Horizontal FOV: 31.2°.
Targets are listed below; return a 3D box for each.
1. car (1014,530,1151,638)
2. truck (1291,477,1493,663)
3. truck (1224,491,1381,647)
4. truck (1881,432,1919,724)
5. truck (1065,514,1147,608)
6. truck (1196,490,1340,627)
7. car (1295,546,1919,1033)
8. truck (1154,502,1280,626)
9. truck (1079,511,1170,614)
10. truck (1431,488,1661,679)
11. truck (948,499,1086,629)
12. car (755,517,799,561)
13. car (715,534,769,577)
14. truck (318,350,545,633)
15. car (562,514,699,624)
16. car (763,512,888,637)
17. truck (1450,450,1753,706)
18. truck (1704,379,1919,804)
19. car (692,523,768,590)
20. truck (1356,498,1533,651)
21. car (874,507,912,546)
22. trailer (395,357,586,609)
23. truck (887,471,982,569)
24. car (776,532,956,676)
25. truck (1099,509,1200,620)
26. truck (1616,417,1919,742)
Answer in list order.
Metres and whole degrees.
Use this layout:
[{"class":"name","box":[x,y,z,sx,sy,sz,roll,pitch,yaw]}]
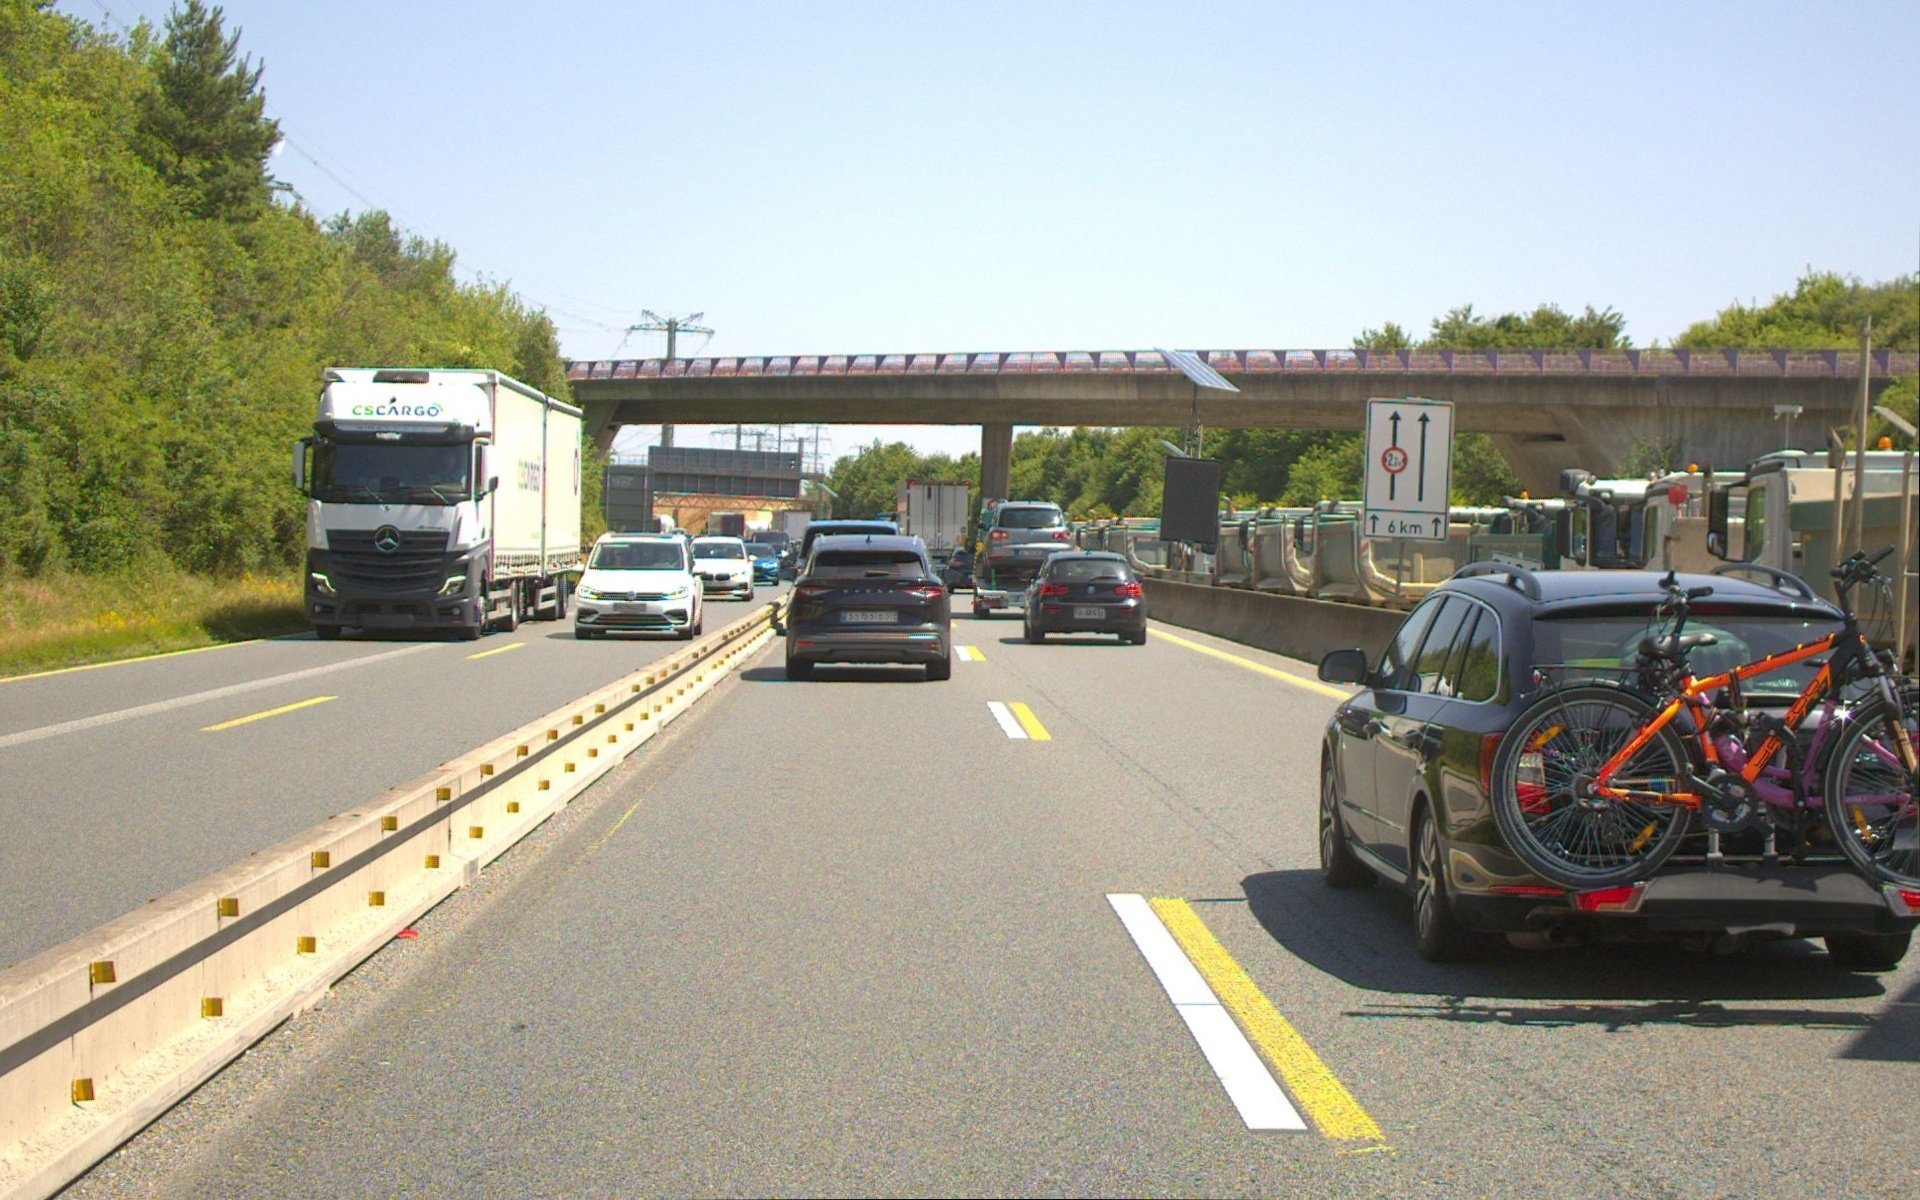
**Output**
[{"class":"car","box":[1.873,-0.269,53.728,1.899,1.580,4.276,1,1,-1]},{"class":"truck","box":[8.833,-0.670,71.404,2.687,3.545,9.603,1,1,-1]},{"class":"truck","box":[8.242,-0.808,83.843,2.687,3.545,9.407,1,1,-1]},{"class":"truck","box":[12.947,-0.190,38.571,2.687,3.499,8.381,1,1,-2]},{"class":"truck","box":[6.205,-1.712,147.086,2.687,3.830,9.326,1,1,-2]},{"class":"truck","box":[8.429,-1.181,95.231,2.687,3.545,9.326,1,1,-2]},{"class":"car","box":[2.523,0.567,13.164,1.899,1.485,4.948,1,1,-1]},{"class":"truck","box":[7.706,-1.133,104.252,2.687,3.545,9.326,1,1,-2]},{"class":"truck","box":[6.373,-1.491,134.142,2.687,3.842,9.326,1,1,-2]},{"class":"truck","box":[11.676,-0.403,69.458,2.687,3.545,9.604,1,1,-2]},{"class":"truck","box":[1.120,-0.810,72.201,2.405,2.549,7.501,1,1,-3]},{"class":"car","box":[-8.657,-2.904,162.977,1.890,2.007,4.818,1,1,-1]},{"class":"car","box":[-7.480,-1.544,118.383,1.712,1.420,4.171,1,1,-2]},{"class":"truck","box":[-8.214,-1.655,54.526,2.409,3.978,10.354,2,1,-3]},{"class":"car","box":[-5.094,-0.488,53.617,1.824,1.625,4.151,1,1,-2]},{"class":"car","box":[-2.190,-0.436,56.920,1.899,1.962,4.276,1,1,-1]},{"class":"truck","box":[9.682,-0.401,53.018,2.538,3.545,9.604,1,1,-2]},{"class":"truck","box":[9.094,-0.099,30.868,2.533,3.499,9.098,1,1,-2]},{"class":"car","box":[-5.837,-1.102,87.719,1.762,1.626,4.297,1,1,-2]},{"class":"truck","box":[11.402,-0.658,81.729,2.687,3.366,9.603,1,1,-1]},{"class":"car","box":[-3.435,-3.781,177.576,1.899,1.962,4.276,1,1,-1]},{"class":"trailer","box":[-8.610,-2.110,63.915,2.637,4.298,8.449,2,1,-3]},{"class":"truck","box":[-1.132,-3.293,142.563,3.292,3.832,10.111,1,1,-4]},{"class":"car","box":[-1.038,0.013,39.092,1.899,1.500,4.276,1,1,-1]},{"class":"truck","box":[6.706,-1.317,122.767,2.687,3.748,9.326,1,1,-2]},{"class":"truck","box":[10.165,-0.291,41.743,2.533,3.499,8.945,1,1,-1]}]
